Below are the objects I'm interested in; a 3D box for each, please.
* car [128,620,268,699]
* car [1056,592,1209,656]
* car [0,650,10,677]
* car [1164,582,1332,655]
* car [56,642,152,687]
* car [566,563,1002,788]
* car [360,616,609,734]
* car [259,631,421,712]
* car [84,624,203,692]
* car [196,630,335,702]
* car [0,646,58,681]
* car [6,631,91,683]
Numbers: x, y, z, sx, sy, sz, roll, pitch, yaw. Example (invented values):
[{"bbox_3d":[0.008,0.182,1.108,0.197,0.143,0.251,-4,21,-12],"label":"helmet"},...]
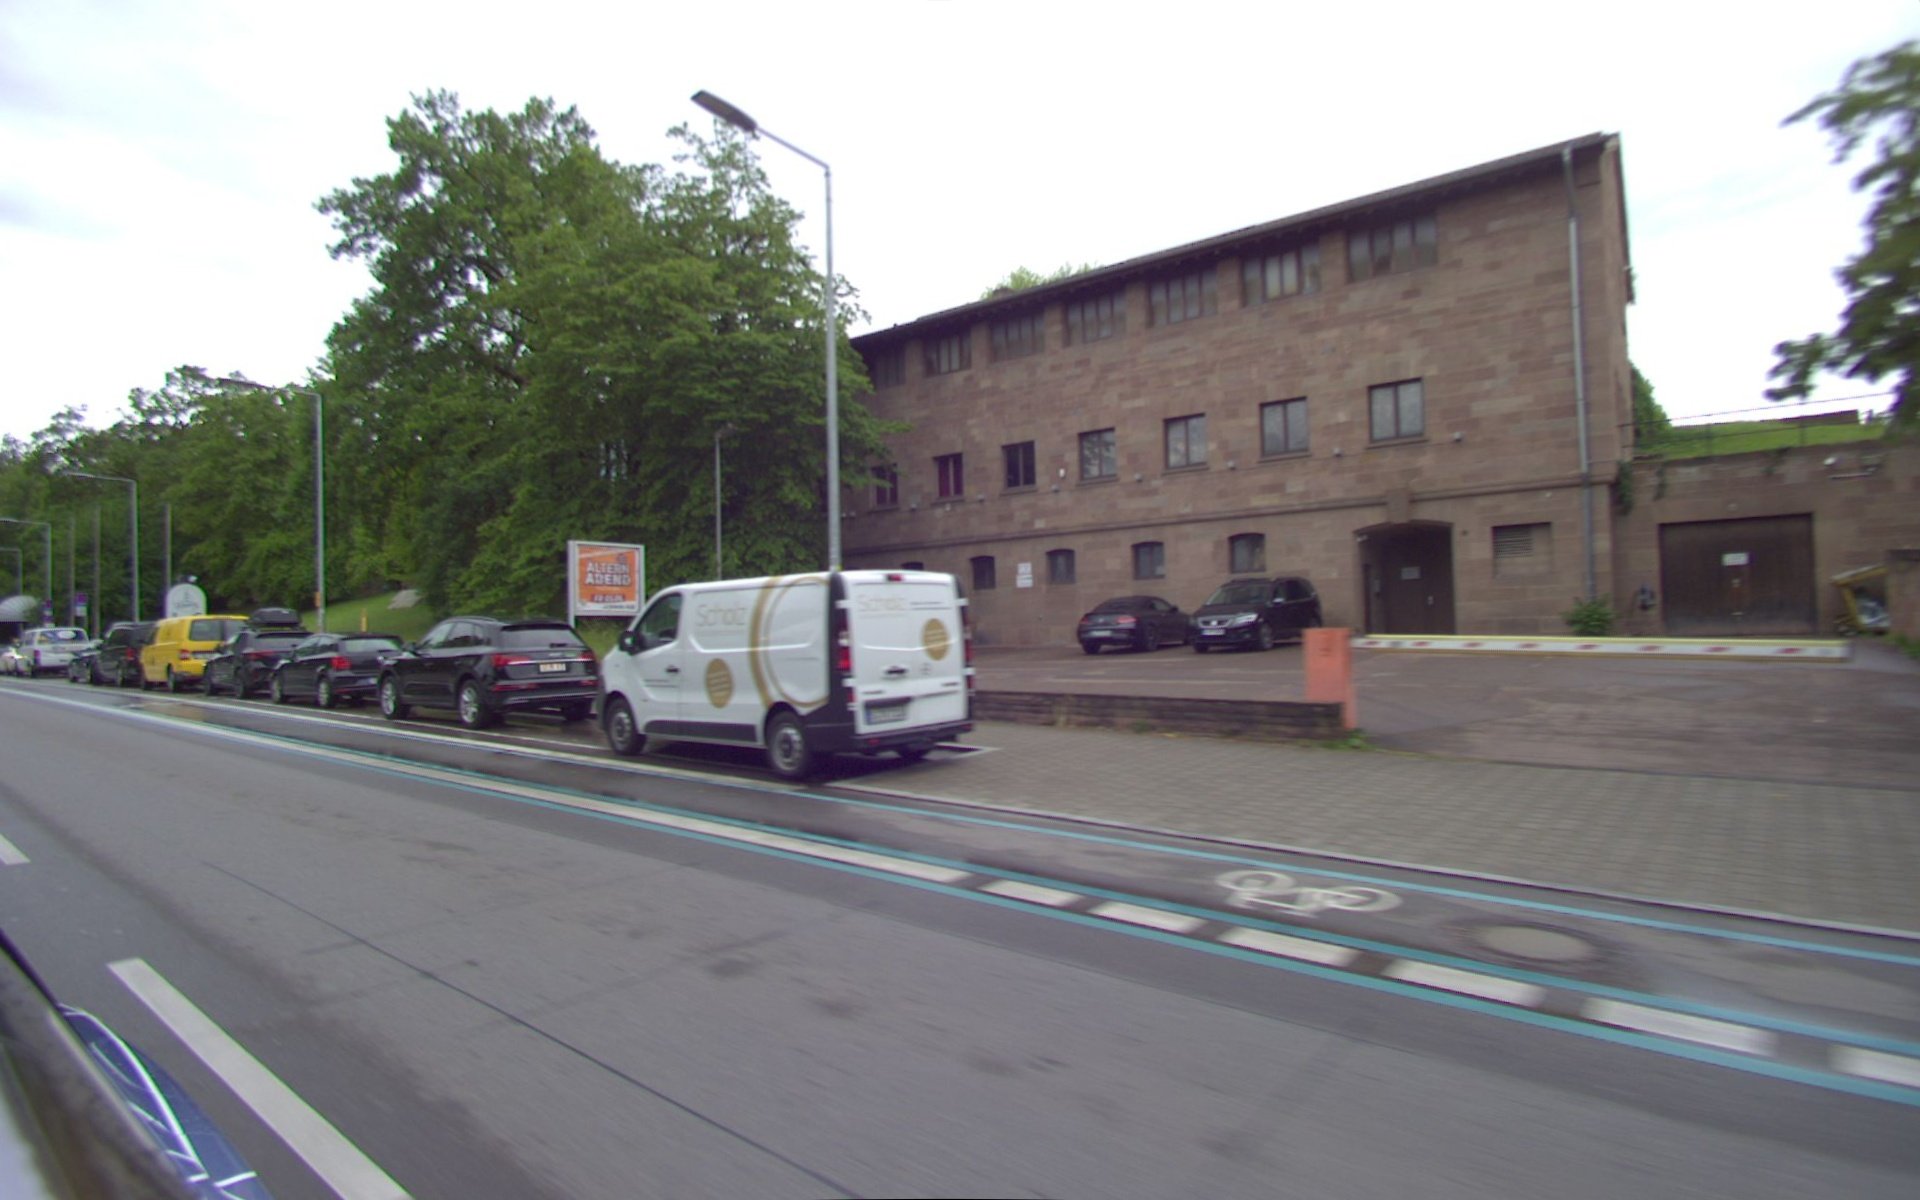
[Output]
[{"bbox_3d":[-20.565,1.576,27.249,4.840,1.928,1.973,-3,-3,40],"label":"car"},{"bbox_3d":[4.592,0.579,26.457,2.259,1.443,4.265,-2,0,36],"label":"car"},{"bbox_3d":[-51.320,3.338,53.146,3.583,1.382,1.659,-3,-3,40],"label":"car"},{"bbox_3d":[7.084,0.408,24.585,2.188,1.490,4.724,-4,-1,39],"label":"car"},{"bbox_3d":[-29.687,2.219,35.059,4.605,1.470,1.667,-3,-3,39],"label":"car"},{"bbox_3d":[-2.177,0.748,11.193,5.226,1.929,1.957,-3,-2,43],"label":"car"},{"bbox_3d":[-7.699,1.142,16.190,4.658,1.628,1.806,-3,-3,40],"label":"car"},{"bbox_3d":[-12.550,1.403,20.392,4.034,1.457,1.592,-3,-3,40],"label":"car"},{"bbox_3d":[-25.204,1.779,31.168,5.199,1.935,1.858,-3,-3,40],"label":"car"},{"bbox_3d":[-16.207,1.505,23.545,4.148,1.516,1.692,-3,-3,41],"label":"car"},{"bbox_3d":[-41.987,2.821,45.354,4.592,1.459,1.709,-3,-3,41],"label":"car"},{"bbox_3d":[-37.408,2.324,41.492,4.729,1.992,1.854,-3,-3,39],"label":"car"}]
